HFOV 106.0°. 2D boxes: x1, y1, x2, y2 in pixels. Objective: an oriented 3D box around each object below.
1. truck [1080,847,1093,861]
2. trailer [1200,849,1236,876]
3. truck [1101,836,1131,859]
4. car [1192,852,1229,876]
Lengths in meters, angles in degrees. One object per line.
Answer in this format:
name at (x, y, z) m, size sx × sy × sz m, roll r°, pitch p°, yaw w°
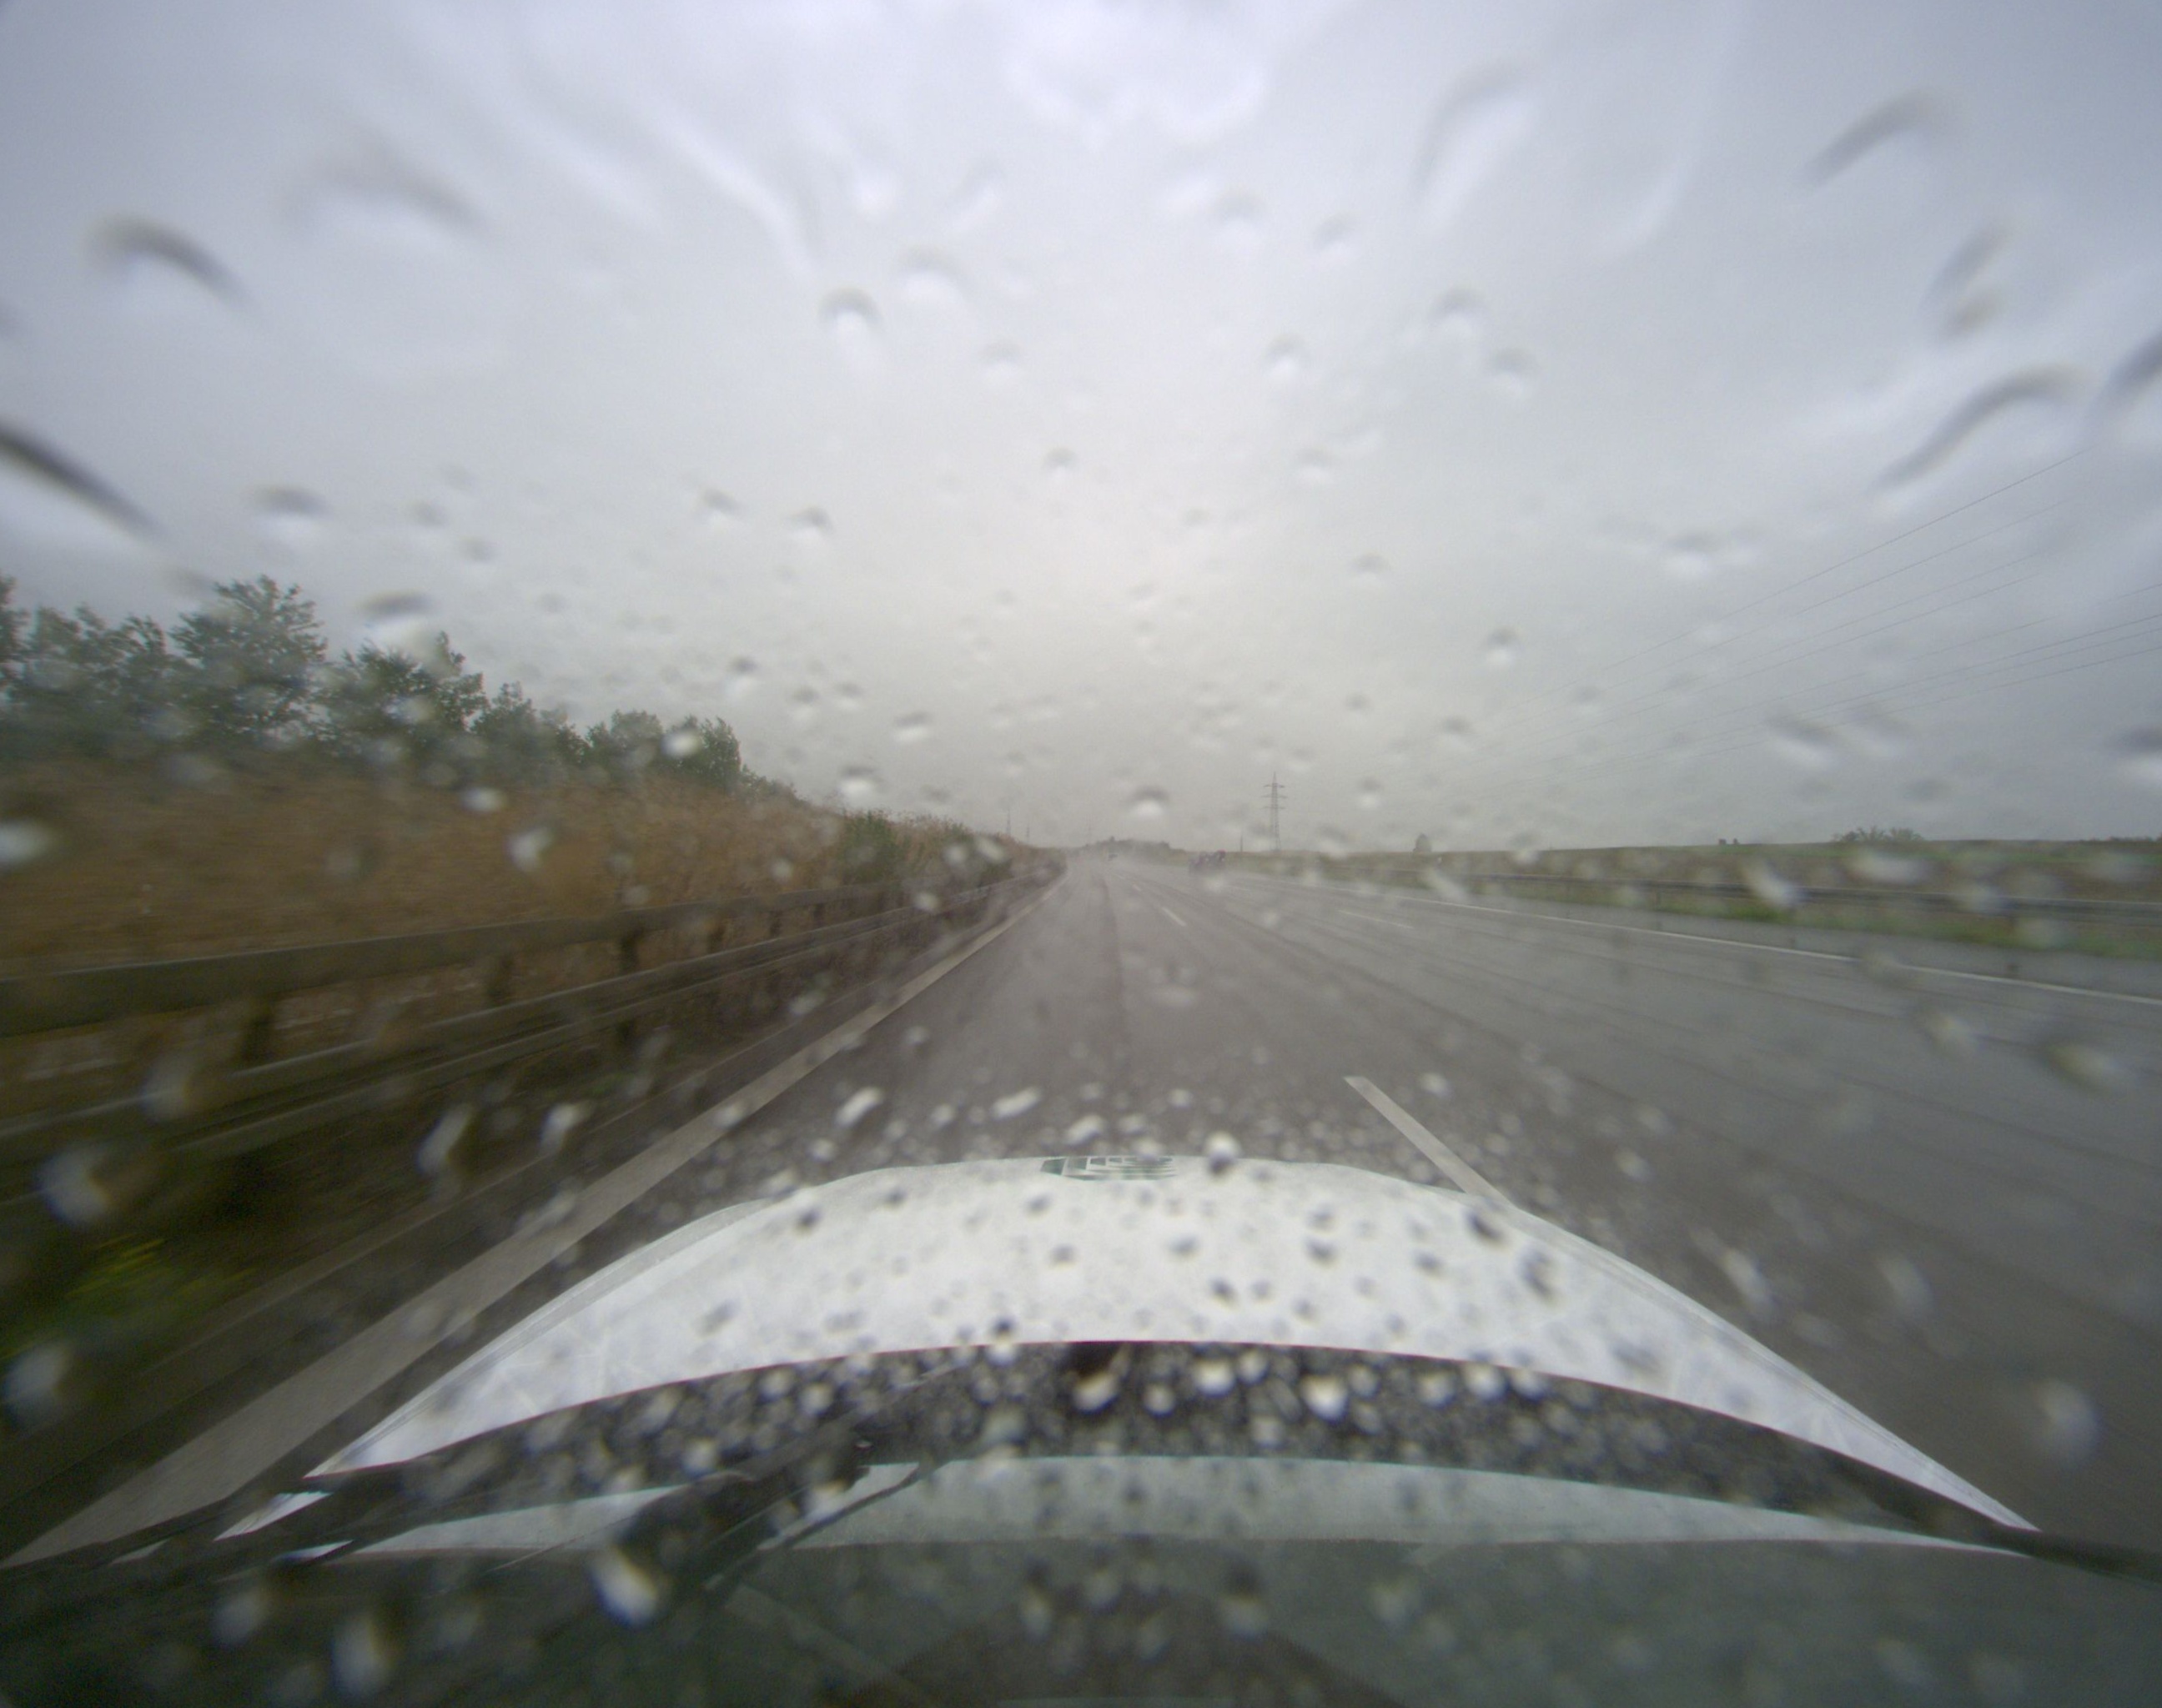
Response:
truck at (1.628, -0.034, 247.604) m, size 3.227 × 4.311 × 8.823 m, roll -1°, pitch 0°, yaw -4°
trailer at (9.277, 0.602, 55.411) m, size 1.972 × 1.785 × 3.189 m, roll -1°, pitch -1°, yaw 1°
truck at (7.296, -1.305, 173.966) m, size 4.183 × 4.630 × 16.073 m, roll -1°, pitch -1°, yaw -5°
car at (9.381, 0.756, 59.464) m, size 1.986 × 1.619 × 4.993 m, roll -1°, pitch -1°, yaw 1°
